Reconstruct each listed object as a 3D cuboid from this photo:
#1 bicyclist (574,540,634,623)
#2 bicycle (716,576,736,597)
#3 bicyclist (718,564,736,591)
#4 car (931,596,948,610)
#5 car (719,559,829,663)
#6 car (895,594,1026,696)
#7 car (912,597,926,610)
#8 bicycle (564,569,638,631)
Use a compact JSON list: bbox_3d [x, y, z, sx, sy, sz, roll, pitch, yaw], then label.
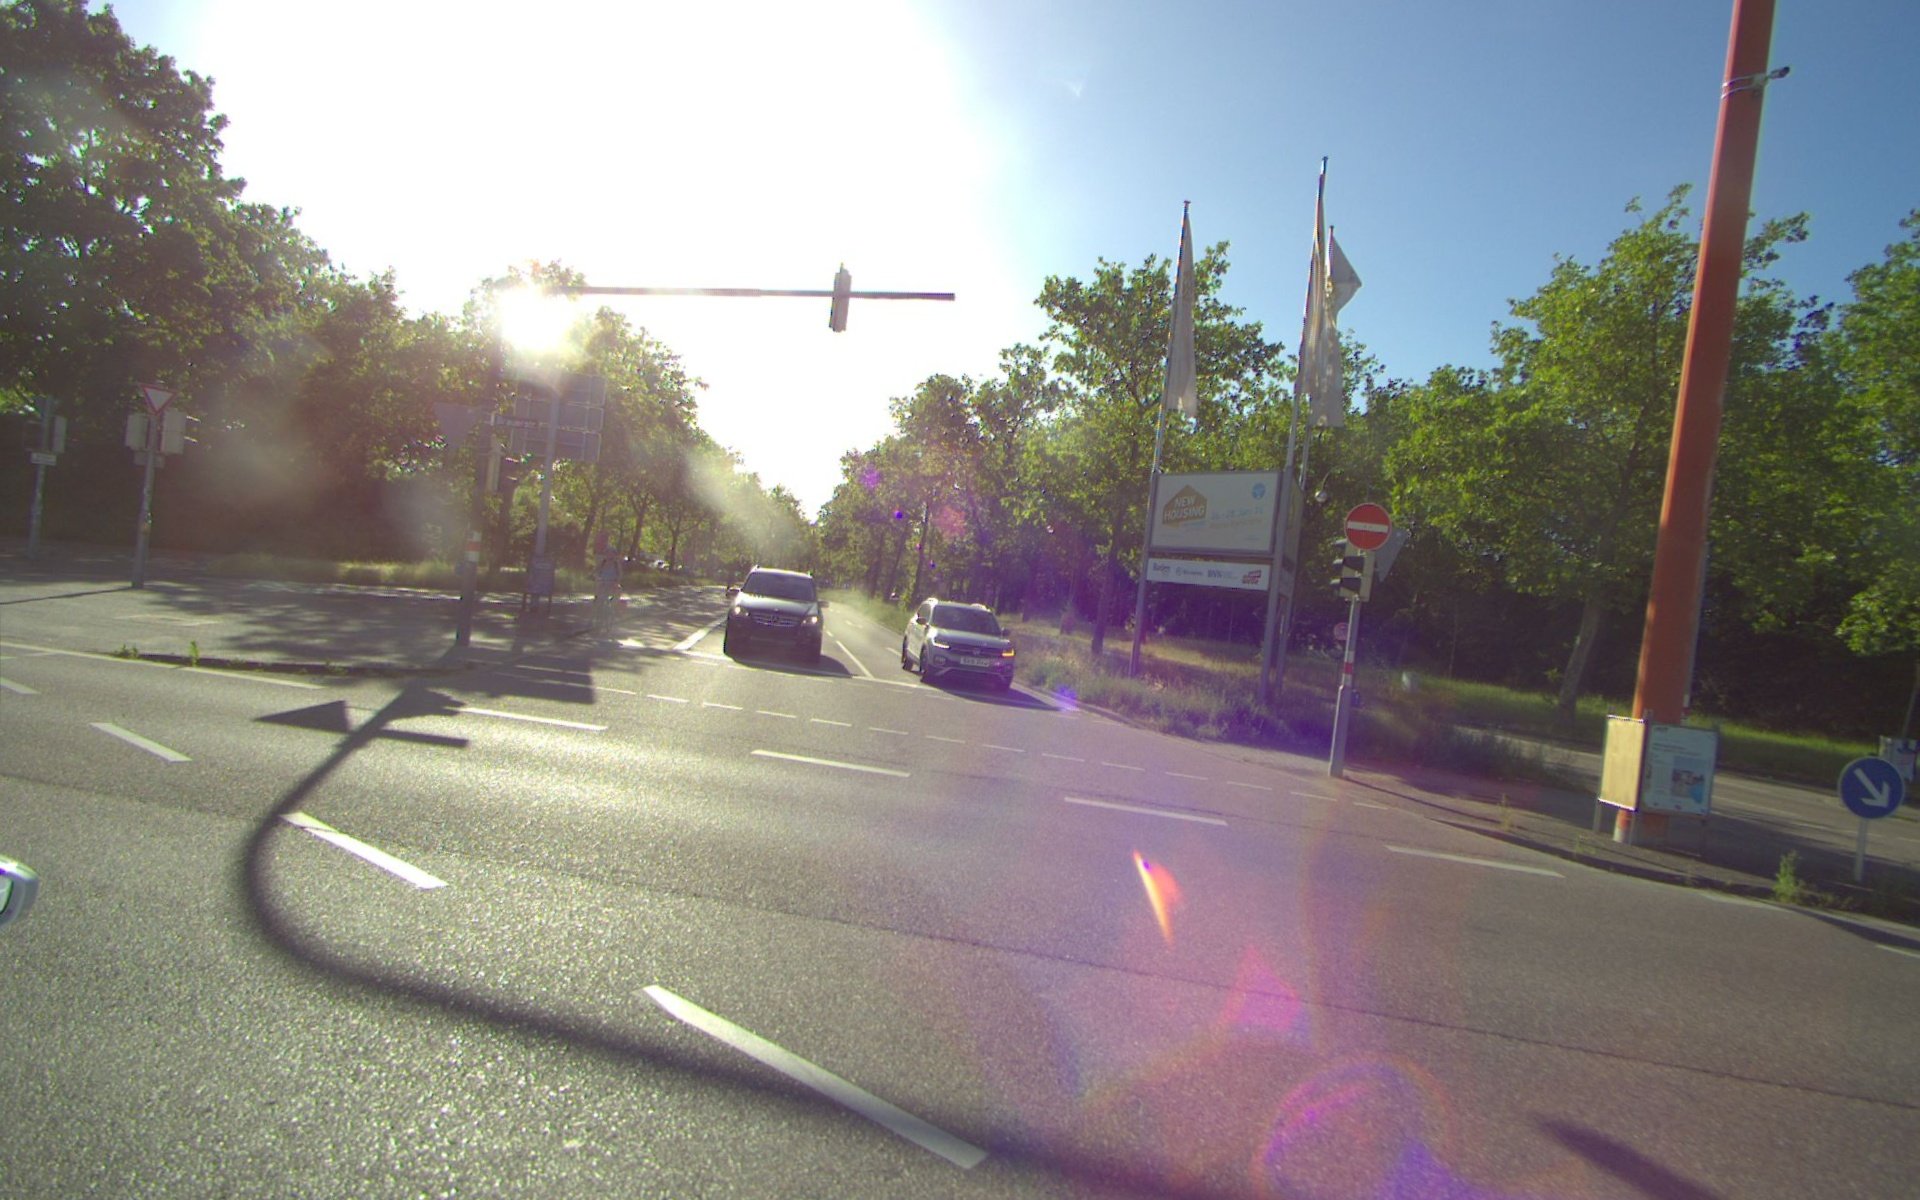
[{"bbox_3d":[-7.234,-0.373,20.500,0.748,1.578,0.980,7,2,-3],"label":"bicyclist"},{"bbox_3d":[-13.519,-0.803,58.146,0.724,1.105,2.012,7,0,-6],"label":"bicycle"},{"bbox_3d":[-13.476,-1.288,58.227,0.724,1.455,0.964,7,1,-6],"label":"bicyclist"},{"bbox_3d":[-2.471,0.303,121.209,1.764,1.405,4.046,8,0,-4],"label":"car"},{"bbox_3d":[-3.913,0.168,21.403,1.877,1.748,4.644,7,0,-10],"label":"car"},{"bbox_3d":[-0.114,0.811,20.186,1.744,1.557,4.082,7,0,-11],"label":"car"},{"bbox_3d":[-6.263,0.513,154.232,1.845,1.646,3.999,8,-1,-3],"label":"car"},{"bbox_3d":[-7.262,-0.014,20.459,0.752,1.105,2.013,7,1,-3],"label":"bicycle"}]
